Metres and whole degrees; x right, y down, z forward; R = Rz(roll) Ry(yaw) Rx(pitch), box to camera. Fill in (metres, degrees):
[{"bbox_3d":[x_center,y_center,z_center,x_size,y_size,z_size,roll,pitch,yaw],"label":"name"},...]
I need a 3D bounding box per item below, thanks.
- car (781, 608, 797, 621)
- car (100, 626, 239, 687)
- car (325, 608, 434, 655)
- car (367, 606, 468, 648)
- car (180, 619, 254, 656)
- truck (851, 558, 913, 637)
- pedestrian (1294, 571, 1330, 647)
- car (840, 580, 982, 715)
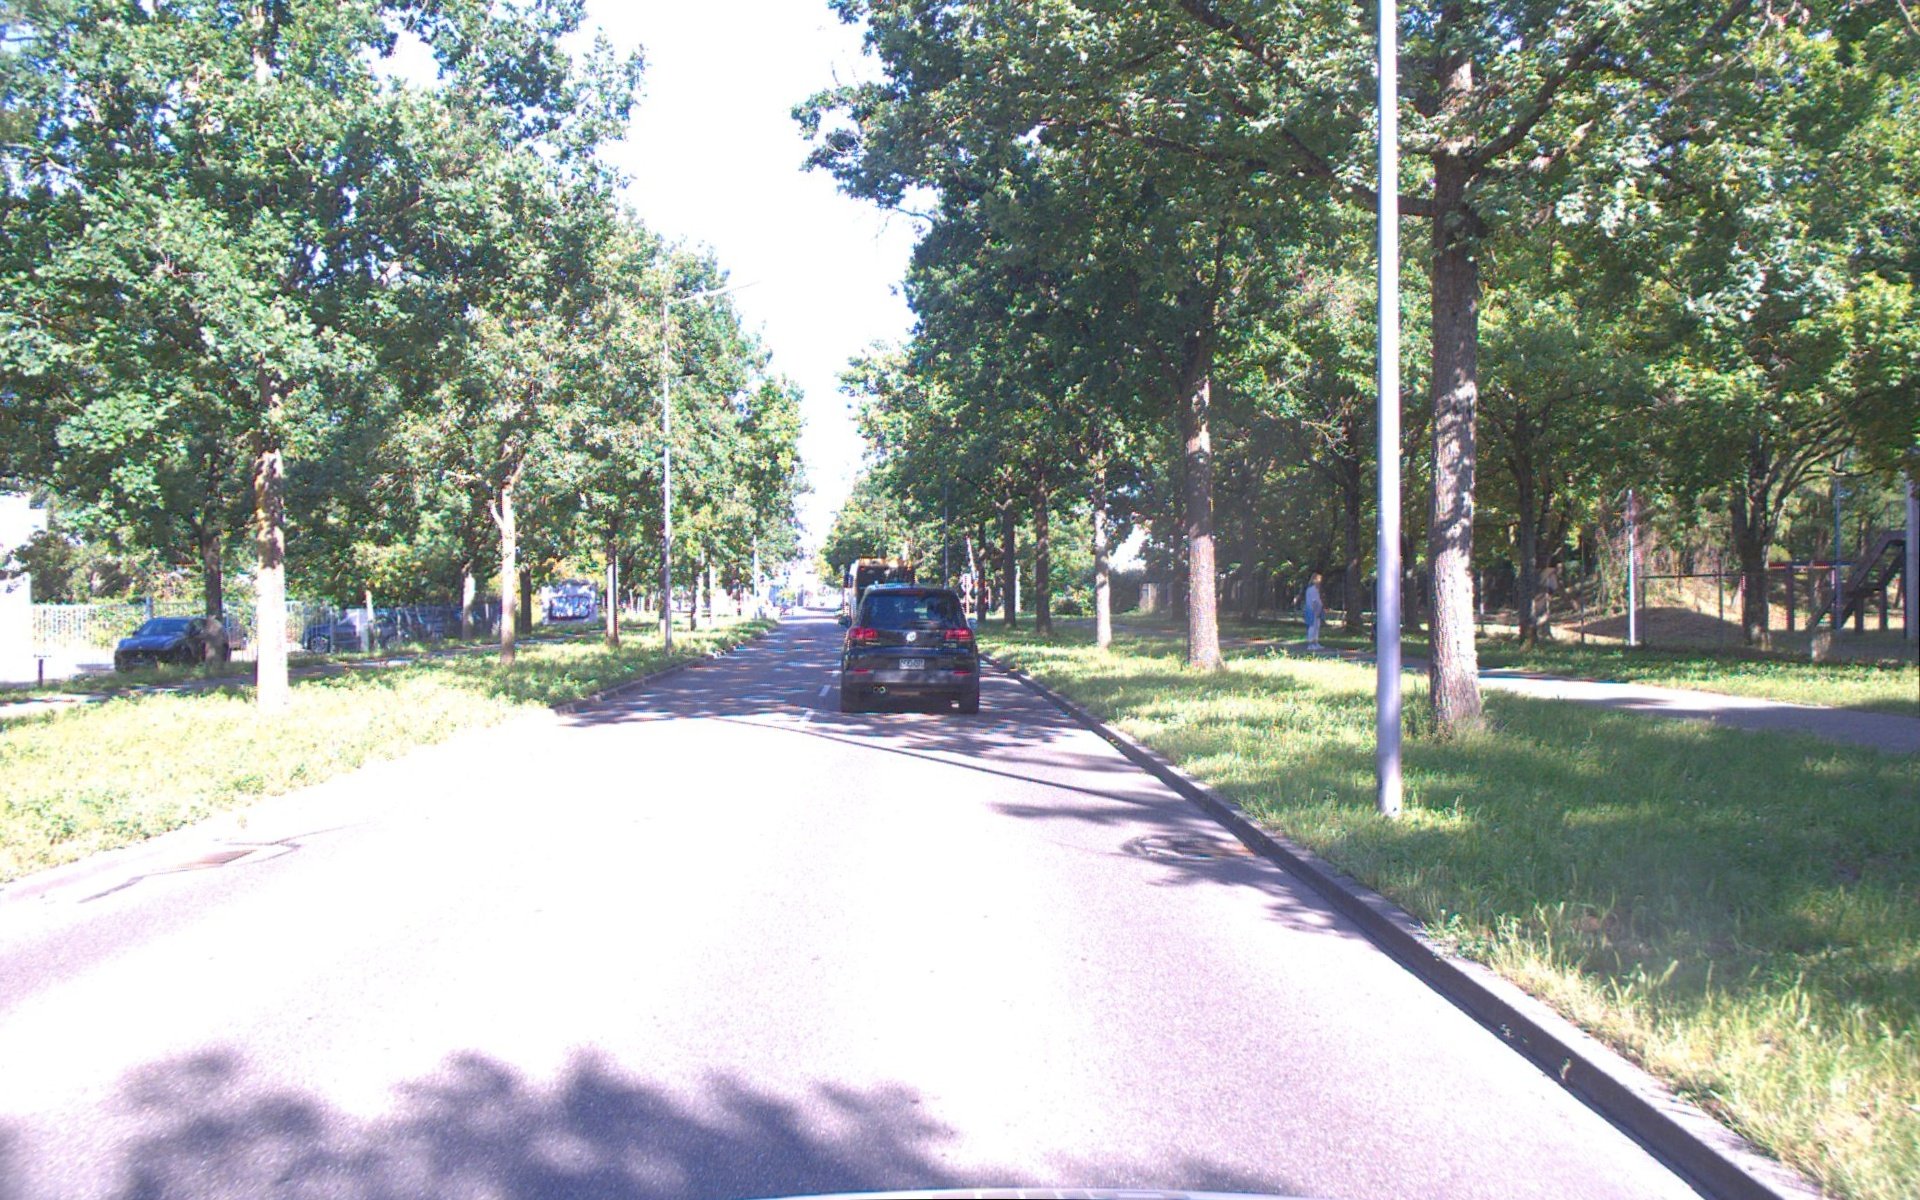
[{"bbox_3d":[-20.342,1.704,196.748,1.534,1.531,3.998,1,0,-2],"label":"car"},{"bbox_3d":[-23.419,1.647,49.241,1.954,1.625,5.011,1,0,-4],"label":"car"},{"bbox_3d":[-23.932,1.298,68.265,3.914,1.833,1.995,1,0,-10],"label":"car"},{"bbox_3d":[-24.886,1.224,75.987,4.111,1.833,1.996,1,0,-8],"label":"car"},{"bbox_3d":[-35.141,1.758,78.328,1.957,1.594,4.875,1,0,-9],"label":"car"},{"bbox_3d":[-3.546,-0.115,73.666,2.463,3.300,8.144,-1,0,-4],"label":"truck"},{"bbox_3d":[7.975,0.197,37.442,0.701,1.659,0.610,-3,0,15],"label":"pedestrian"},{"bbox_3d":[-0.747,0.599,22.580,1.747,1.662,3.996,1,0,-4],"label":"car"}]
